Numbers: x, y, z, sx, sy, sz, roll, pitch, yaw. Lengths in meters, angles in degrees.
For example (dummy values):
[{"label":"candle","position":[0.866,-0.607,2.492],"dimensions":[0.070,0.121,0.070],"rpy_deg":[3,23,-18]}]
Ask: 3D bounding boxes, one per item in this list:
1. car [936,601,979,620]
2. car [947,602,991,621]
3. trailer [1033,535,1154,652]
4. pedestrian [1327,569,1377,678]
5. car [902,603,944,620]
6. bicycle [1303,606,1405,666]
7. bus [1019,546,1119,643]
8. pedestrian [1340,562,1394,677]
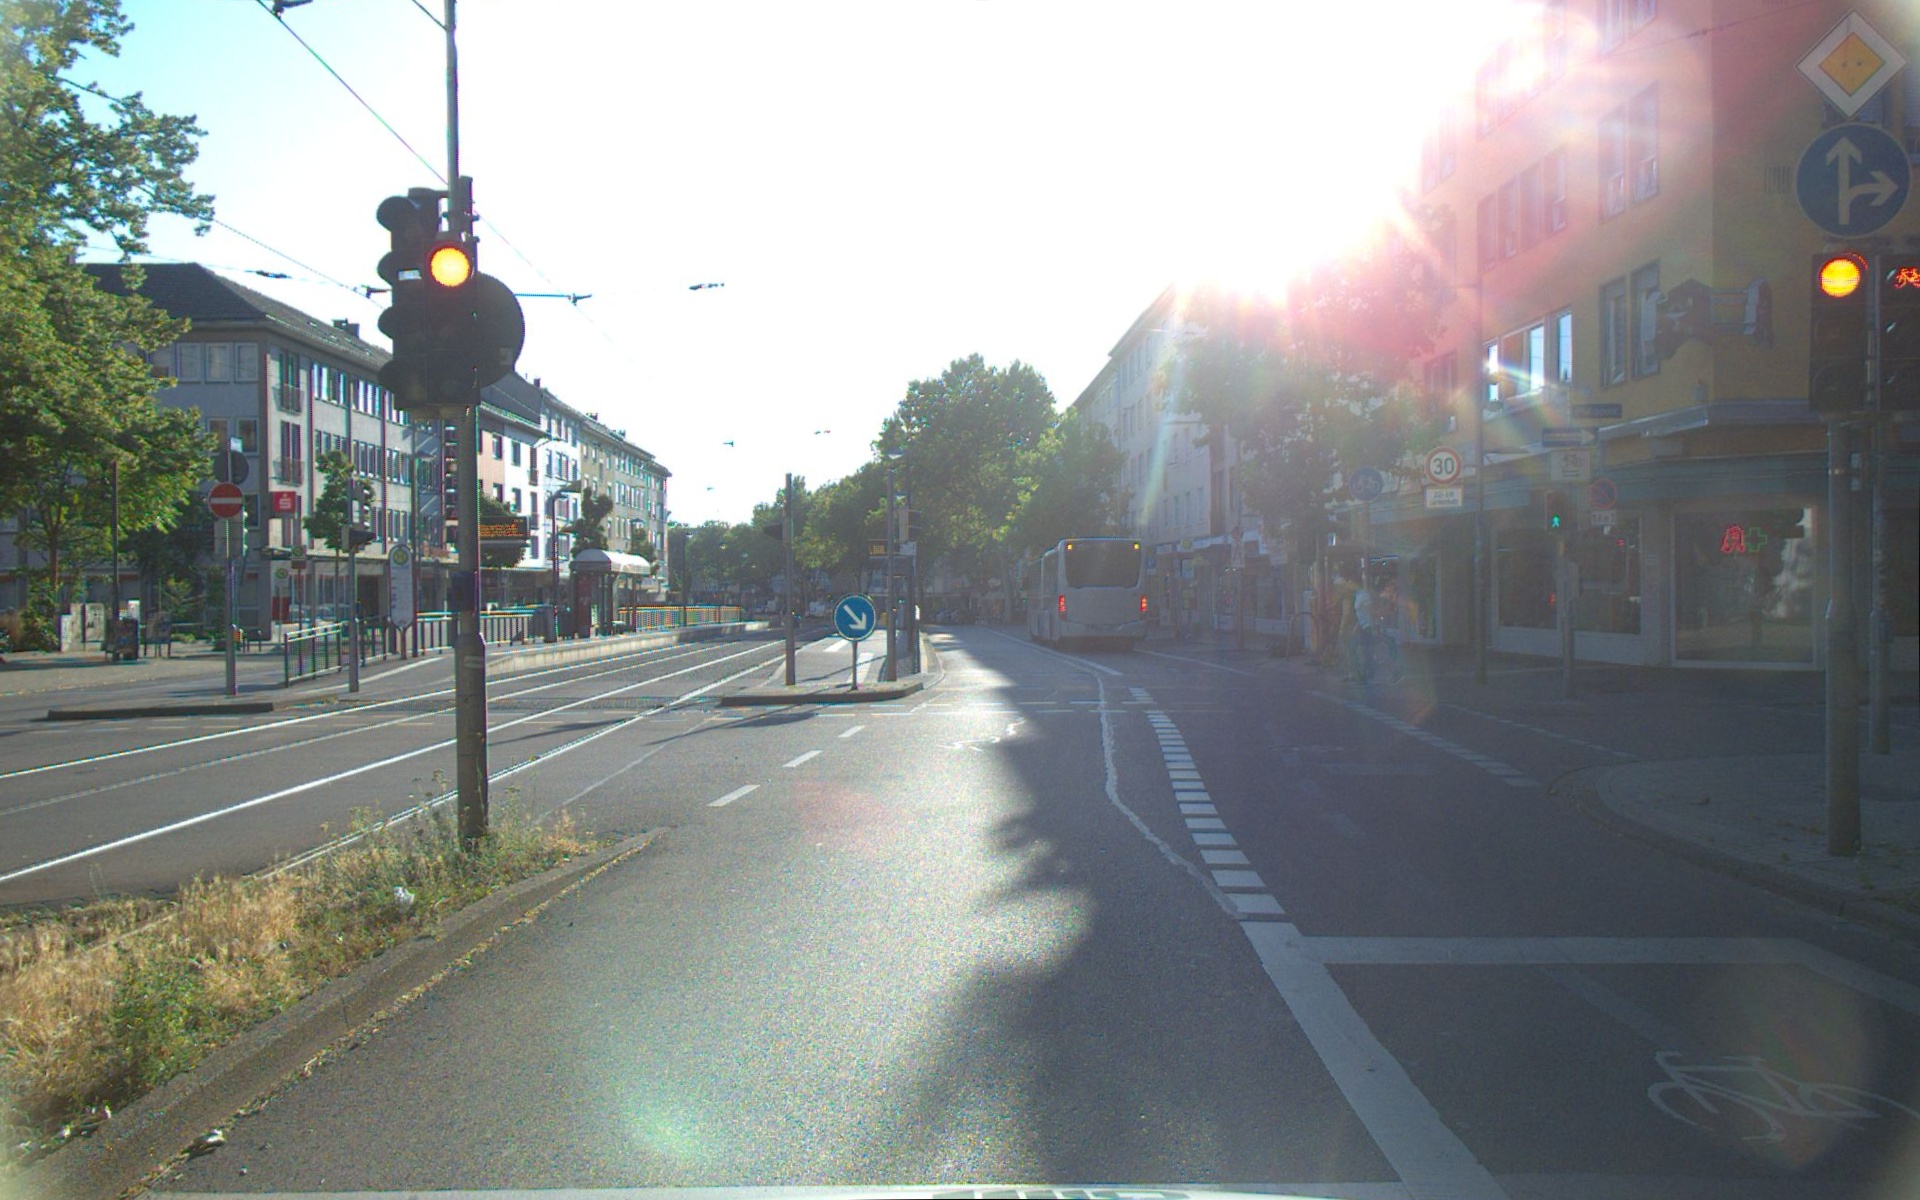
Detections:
[{"label":"car","position":[-0.230,0.992,161.372],"dimensions":[3.848,1.729,1.815],"rpy_deg":[-1,0,-30]},{"label":"car","position":[0.827,1.080,158.523],"dimensions":[3.848,1.729,1.815],"rpy_deg":[-1,0,-30]},{"label":"trailer","position":[3.881,-0.185,50.058],"dimensions":[2.755,3.165,8.792],"rpy_deg":[1,0,-1]},{"label":"pedestrian","position":[6.596,0.384,27.873],"dimensions":[0.666,1.801,0.687],"rpy_deg":[-1,0,0]},{"label":"car","position":[-3.724,1.196,166.535],"dimensions":[3.848,1.624,1.674],"rpy_deg":[-1,0,-30]},{"label":"bicycle","position":[7.478,0.677,31.418],"dimensions":[1.737,1.039,0.694],"rpy_deg":[-2,0,-2]},{"label":"bus","position":[3.752,-0.181,59.000],"dimensions":[2.755,3.156,9.092],"rpy_deg":[1,0,-1]},{"label":"pedestrian","position":[6.456,0.307,26.269],"dimensions":[0.666,1.801,0.687],"rpy_deg":[-1,0,0]}]
